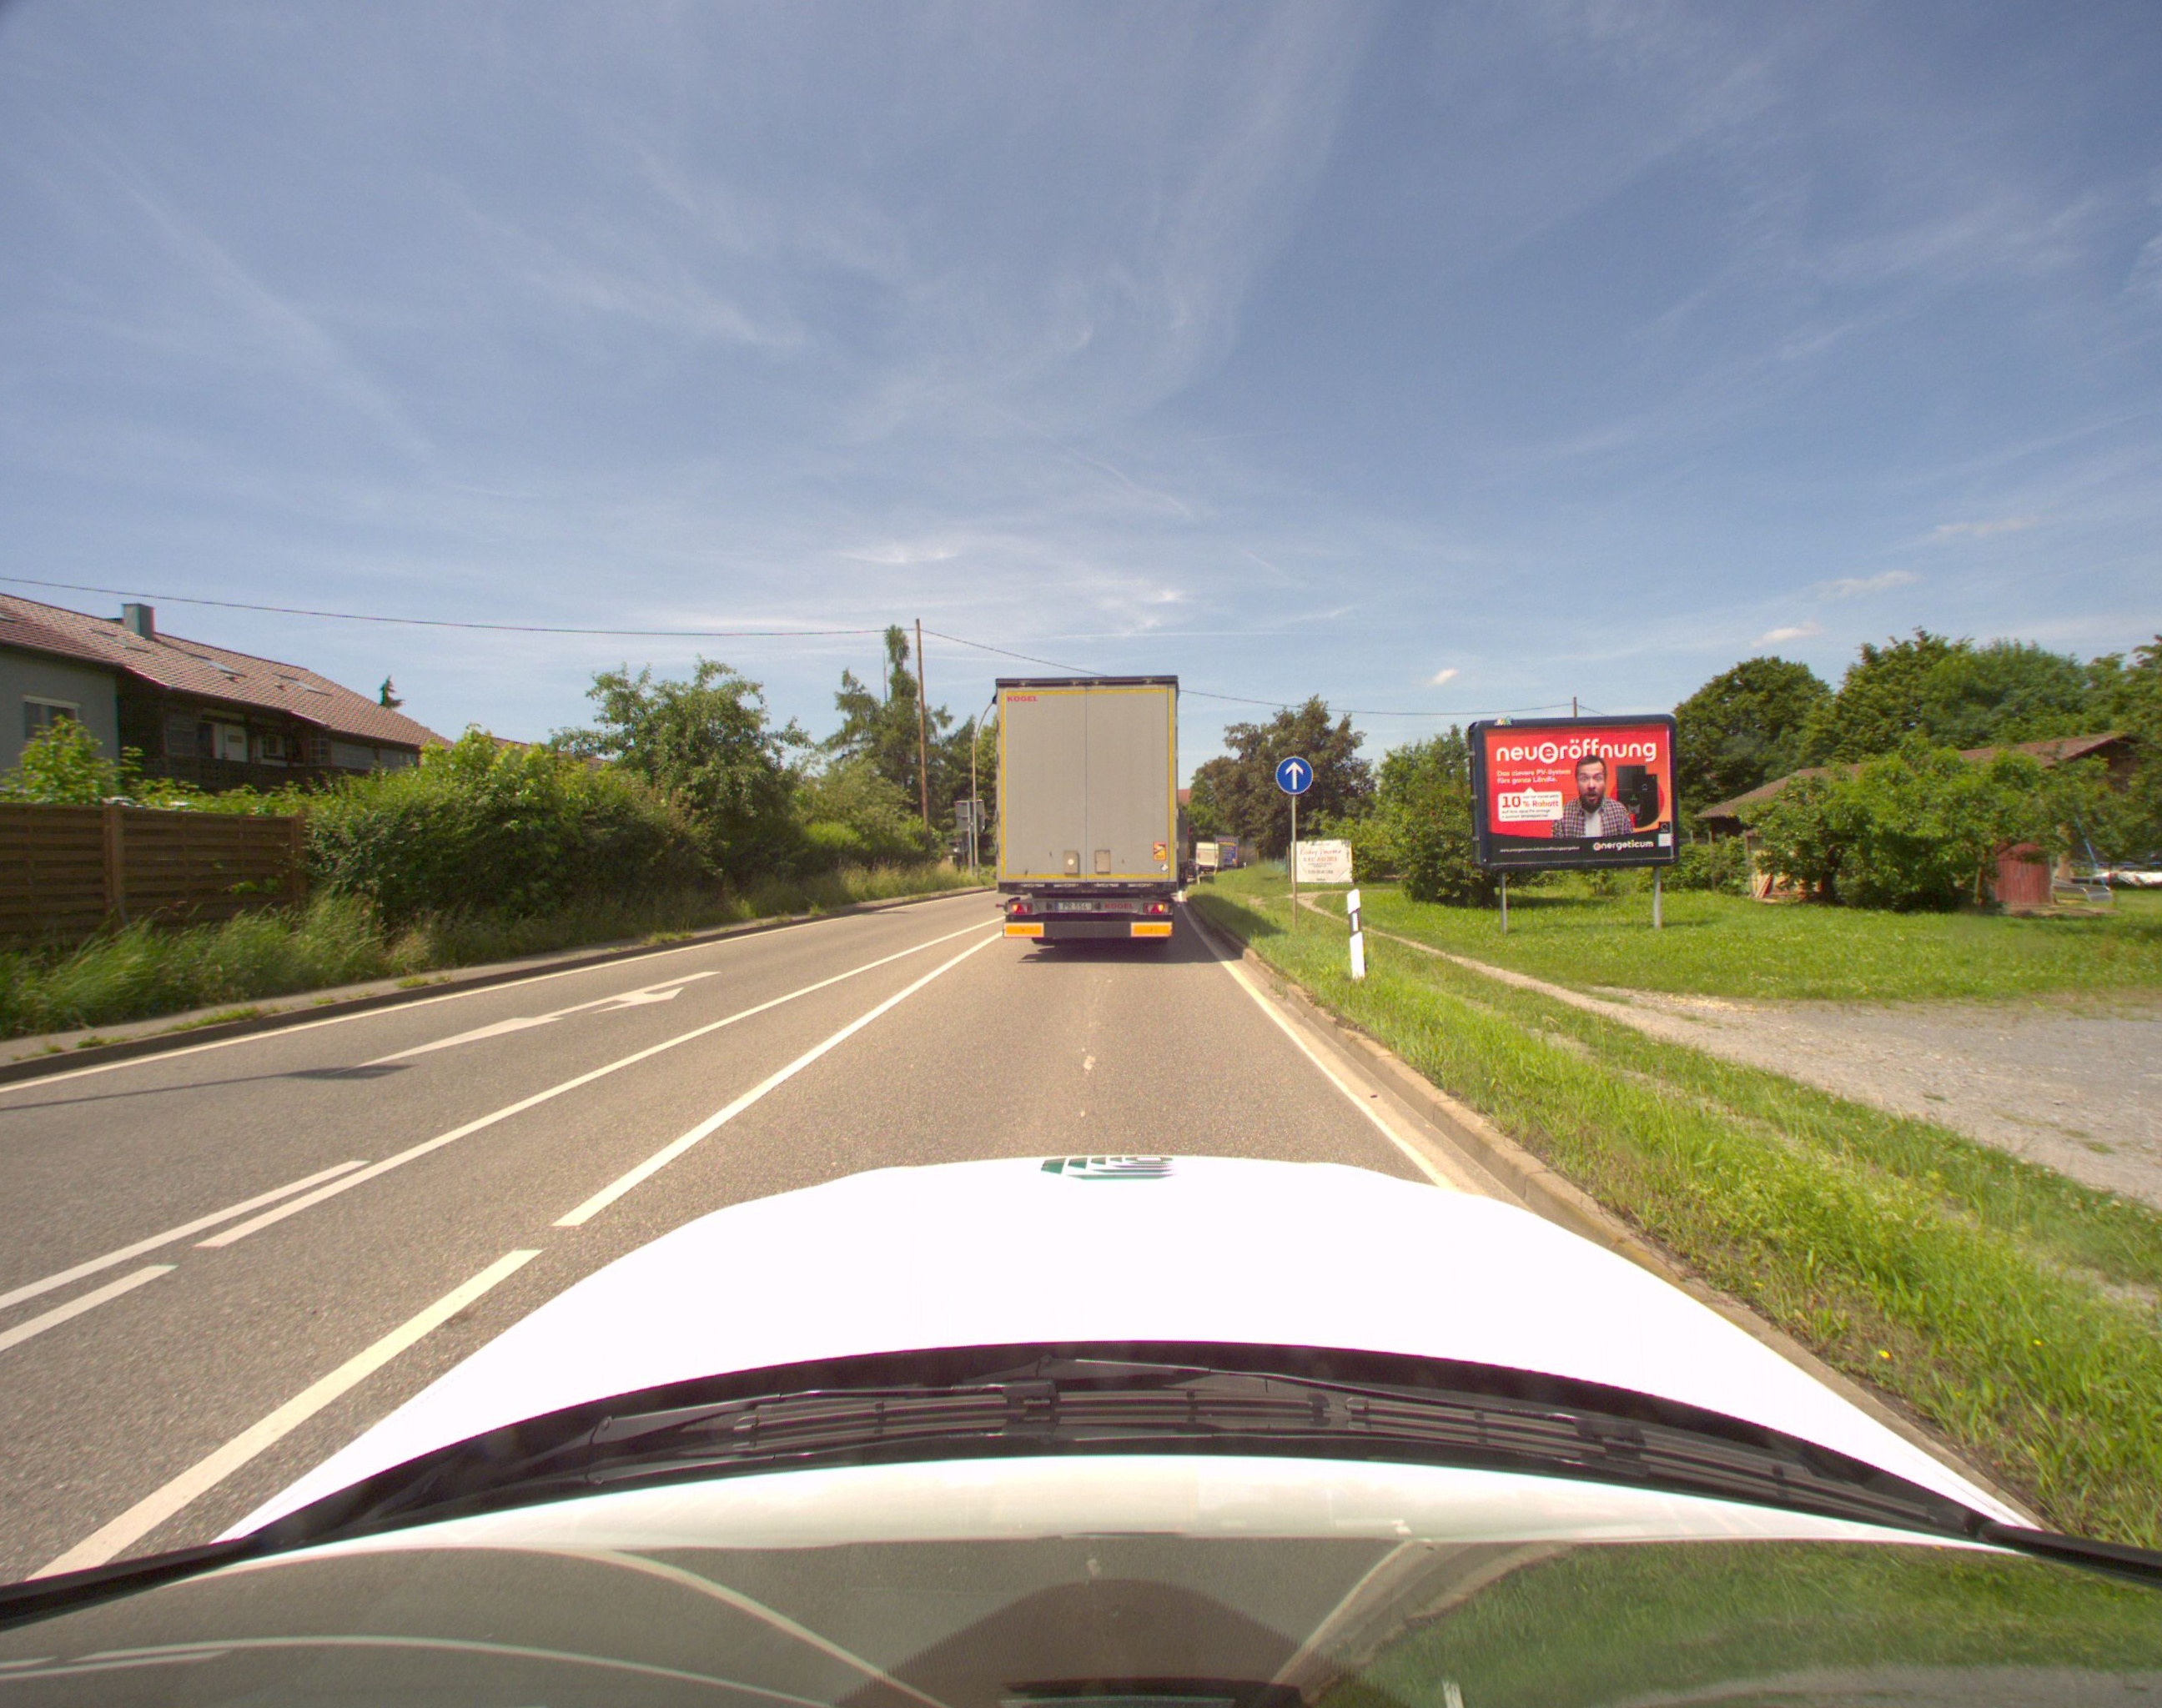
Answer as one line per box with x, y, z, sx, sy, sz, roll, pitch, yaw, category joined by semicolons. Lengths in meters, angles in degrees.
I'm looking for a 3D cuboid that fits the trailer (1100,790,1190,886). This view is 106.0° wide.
3.850;-0.786;44.831;3.868;4.520;12.746;-1;0;9;trailer

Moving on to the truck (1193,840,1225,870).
12.514;0.061;79.301;2.402;2.838;5.436;-1;0;16;truck

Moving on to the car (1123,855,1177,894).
3.021;0.861;35.106;1.982;1.530;4.010;-1;0;9;car

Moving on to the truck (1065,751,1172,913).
1.261;-0.594;24.227;2.732;4.165;6.152;-1;0;5;truck

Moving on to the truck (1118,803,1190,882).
4.751;-0.654;51.556;3.913;4.574;7.170;-1;0;9;truck

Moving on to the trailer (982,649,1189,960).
0.606;-0.706;17.176;2.773;4.205;12.129;-1;0;5;trailer

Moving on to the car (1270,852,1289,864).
29.100;0.607;119.308;1.975;1.684;4.023;-1;0;25;car

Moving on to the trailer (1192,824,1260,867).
17.461;-0.980;96.577;5.136;4.628;15.976;-1;0;20;trailer

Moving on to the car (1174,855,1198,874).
8.610;0.833;66.352;1.831;1.486;4.010;-1;0;8;car

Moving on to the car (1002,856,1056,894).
-2.069;0.820;33.333;1.613;1.381;3.566;1;1;6;car
